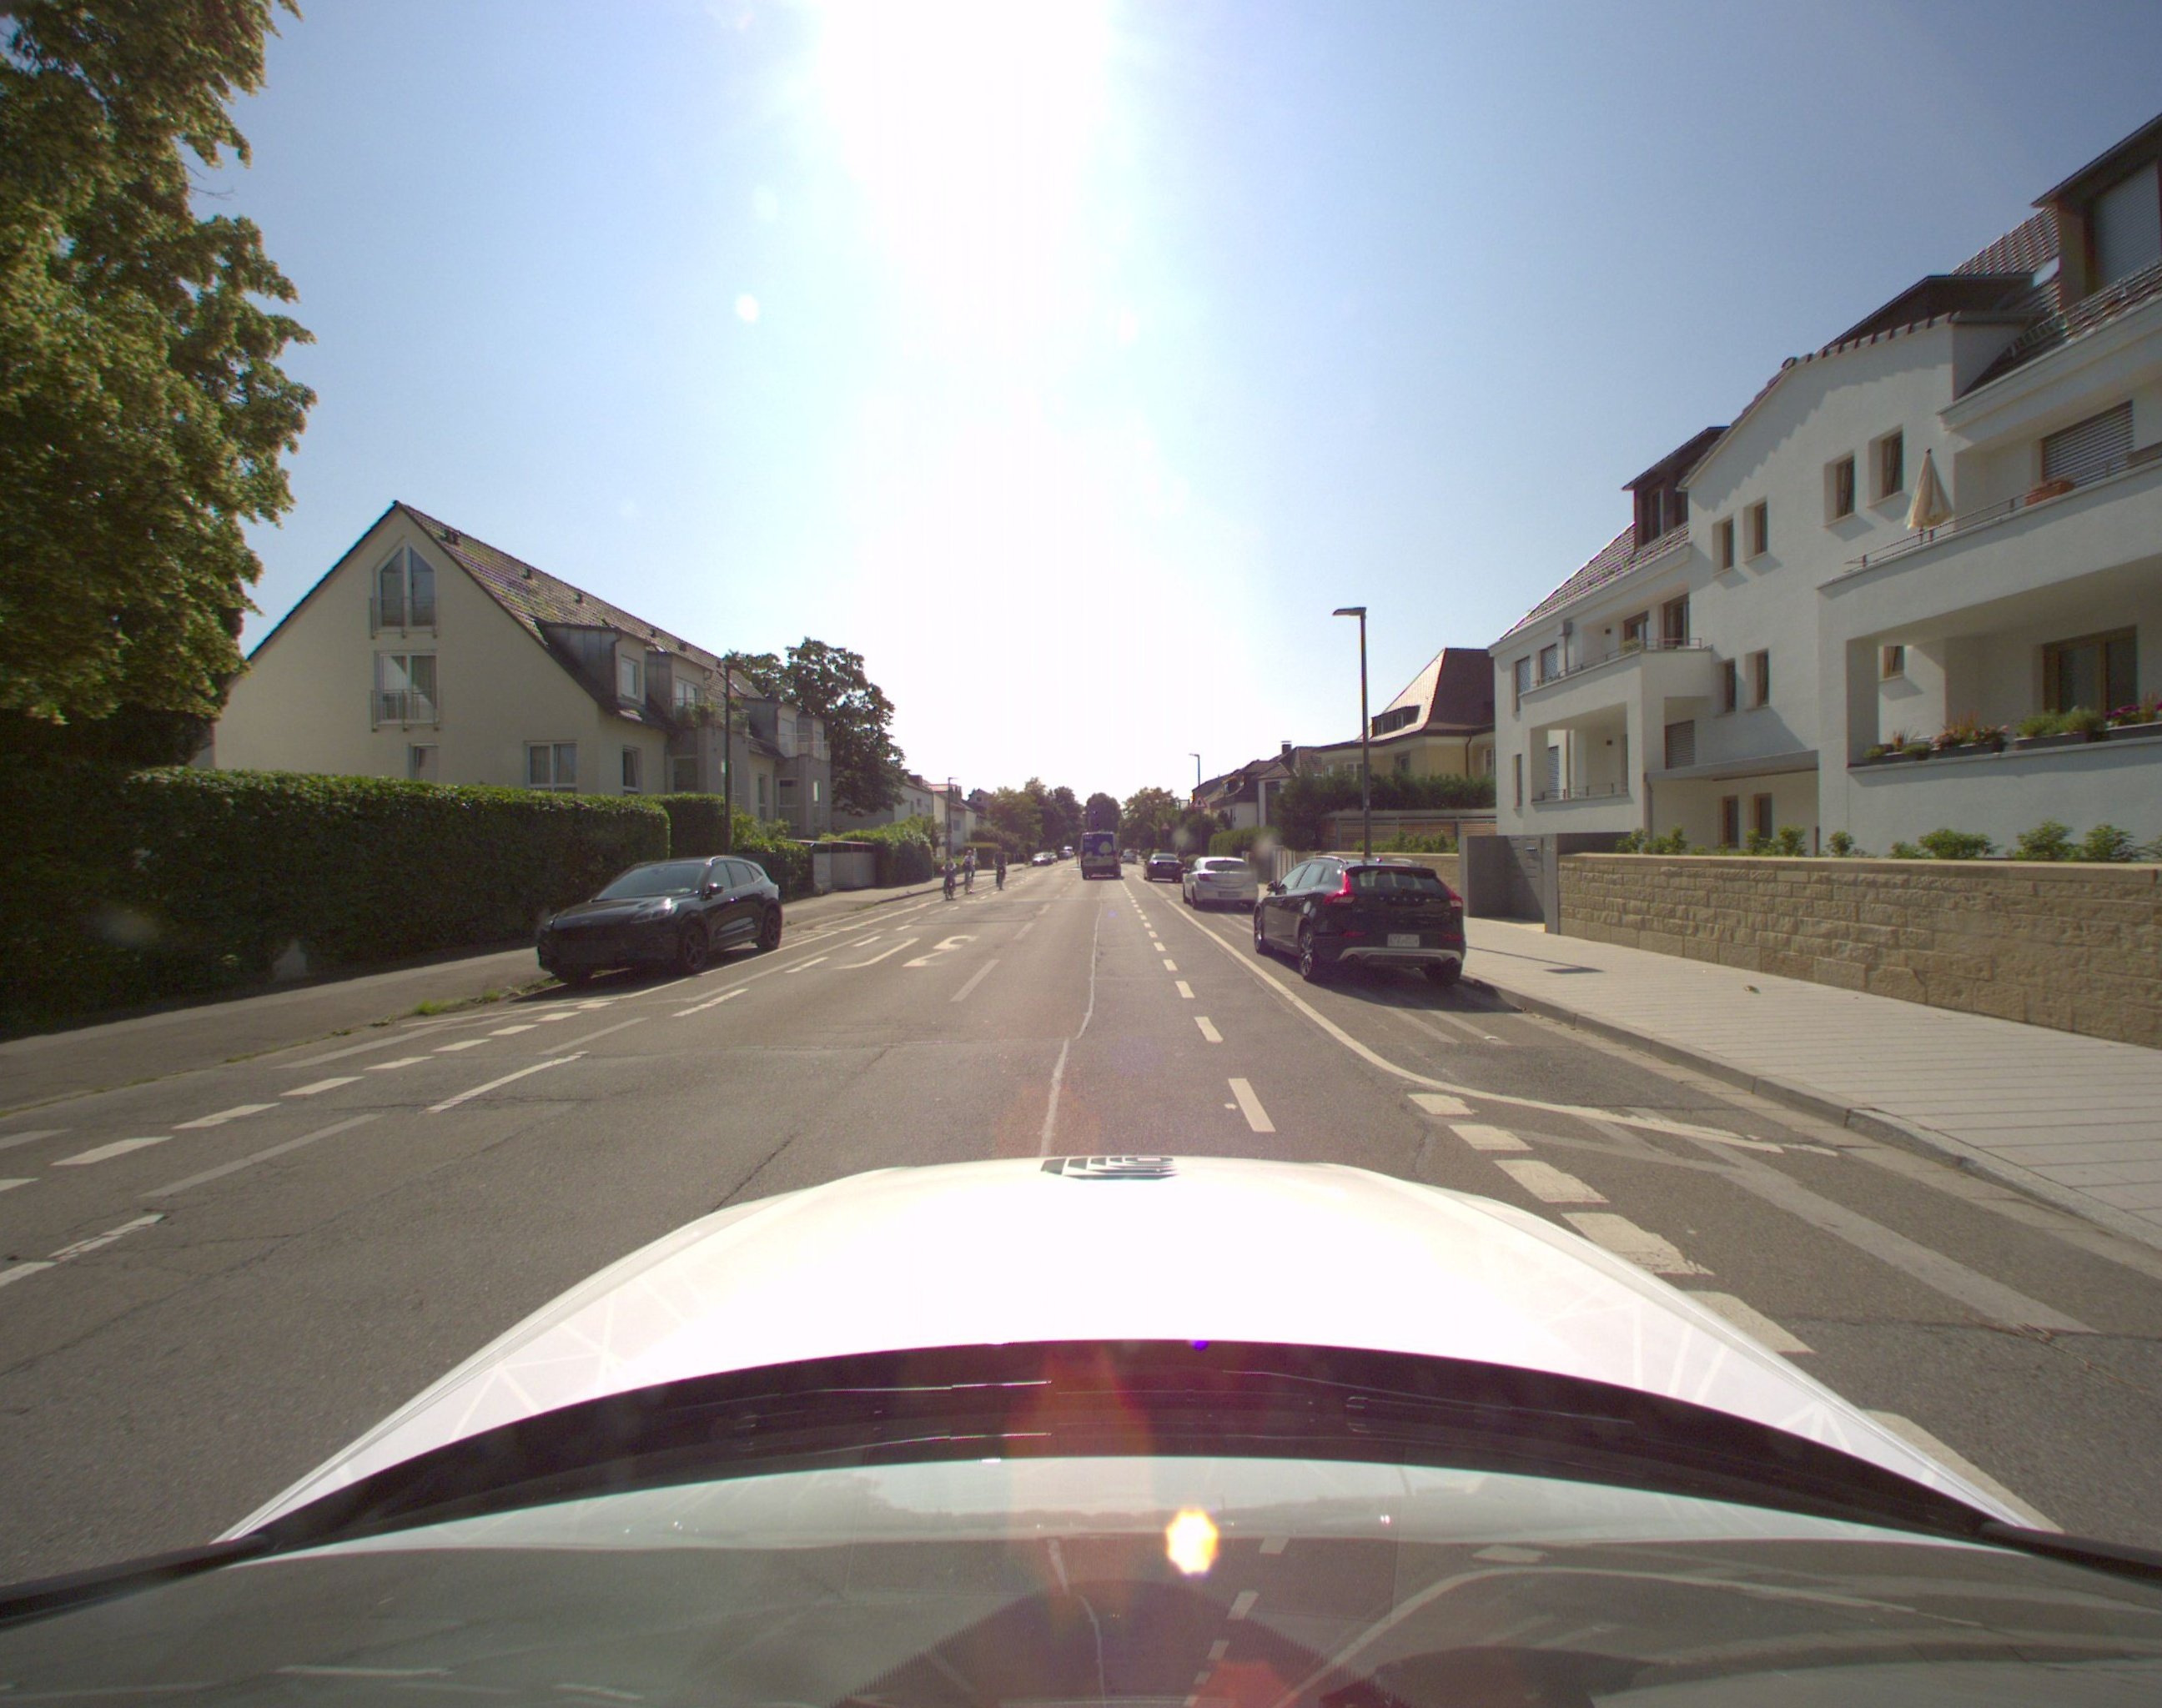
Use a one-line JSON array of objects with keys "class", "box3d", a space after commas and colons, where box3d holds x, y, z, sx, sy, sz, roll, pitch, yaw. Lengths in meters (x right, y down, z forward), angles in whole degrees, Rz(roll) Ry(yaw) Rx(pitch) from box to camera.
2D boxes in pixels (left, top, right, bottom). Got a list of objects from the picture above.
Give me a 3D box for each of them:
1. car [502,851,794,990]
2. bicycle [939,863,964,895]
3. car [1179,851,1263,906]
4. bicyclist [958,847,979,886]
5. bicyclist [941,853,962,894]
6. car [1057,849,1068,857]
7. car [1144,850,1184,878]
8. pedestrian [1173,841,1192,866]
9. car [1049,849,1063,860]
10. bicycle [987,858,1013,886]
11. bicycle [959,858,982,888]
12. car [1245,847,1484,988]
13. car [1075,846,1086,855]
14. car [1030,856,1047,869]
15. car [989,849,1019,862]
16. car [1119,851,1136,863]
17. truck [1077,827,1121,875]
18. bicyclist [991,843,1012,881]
[{"class": "car", "box3d": [-6.206, 0.825, 12.413, 1.844, 1.610, 4.450, -4, 0, 2]}, {"class": "bicycle", "box3d": [-4.658, 0.884, 29.358, 0.598, 1.105, 1.347, -3, 0, 2]}, {"class": "car", "box3d": [3.804, 0.660, 22.685, 1.730, 1.329, 4.078, 2, -1, 2]}, {"class": "bicyclist", "box3d": [-4.699, 0.520, 34.057, 0.673, 1.580, 0.860, -3, 0, 2]}, {"class": "bicyclist", "box3d": [-4.674, 0.703, 29.463, 0.488, 1.454, 0.965, -3, 0, 2]}, {"class": "car", "box3d": [-3.407, -0.144, 151.614, 1.775, 1.460, 4.086, -2, 0, 0]}, {"class": "car", "box3d": [4.220, 0.491, 41.909, 1.730, 1.329, 4.261, -1, 0, 1]}, {"class": "pedestrian", "box3d": [7.859, -0.024, 62.818, 0.905, 1.872, 1.177, -1, 0, -32]}, {"class": "car", "box3d": [-3.580, 0.073, 117.059, 1.779, 1.440, 4.000, -2, 0, 1]}, {"class": "bicycle", "box3d": [-3.589, 0.780, 36.122, 0.779, 1.166, 2.421, -3, 0, 2]}, {"class": "bicycle", "box3d": [-4.606, 0.782, 34.081, 0.557, 1.185, 2.037, -3, 0, 2]}, {"class": "car", "box3d": [3.468, 0.685, 10.827, 1.716, 1.449, 4.169, 2, 0, 0]}, {"class": "car", "box3d": [-0.075, -0.651, 162.737, 1.907, 1.666, 4.508, -2, 0, 2]}, {"class": "car", "box3d": [-4.853, 0.966, 93.697, 1.780, 1.440, 4.152, -2, 0, -2]}, {"class": "car", "box3d": [-10.584, 0.171, 112.128, 3.972, 1.759, 2.001, -1, 0, 1]}, {"class": "car", "box3d": [5.531, 0.340, 96.947, 1.734, 1.402, 4.073, 1, 1, 0]}, {"class": "truck", "box3d": [1.098, -0.155, 46.927, 2.262, 2.571, 4.397, -1, 0, 4]}, {"class": "bicyclist", "box3d": [-3.552, 0.361, 36.506, 0.746, 1.667, 1.022, -3, 0, 2]}]
